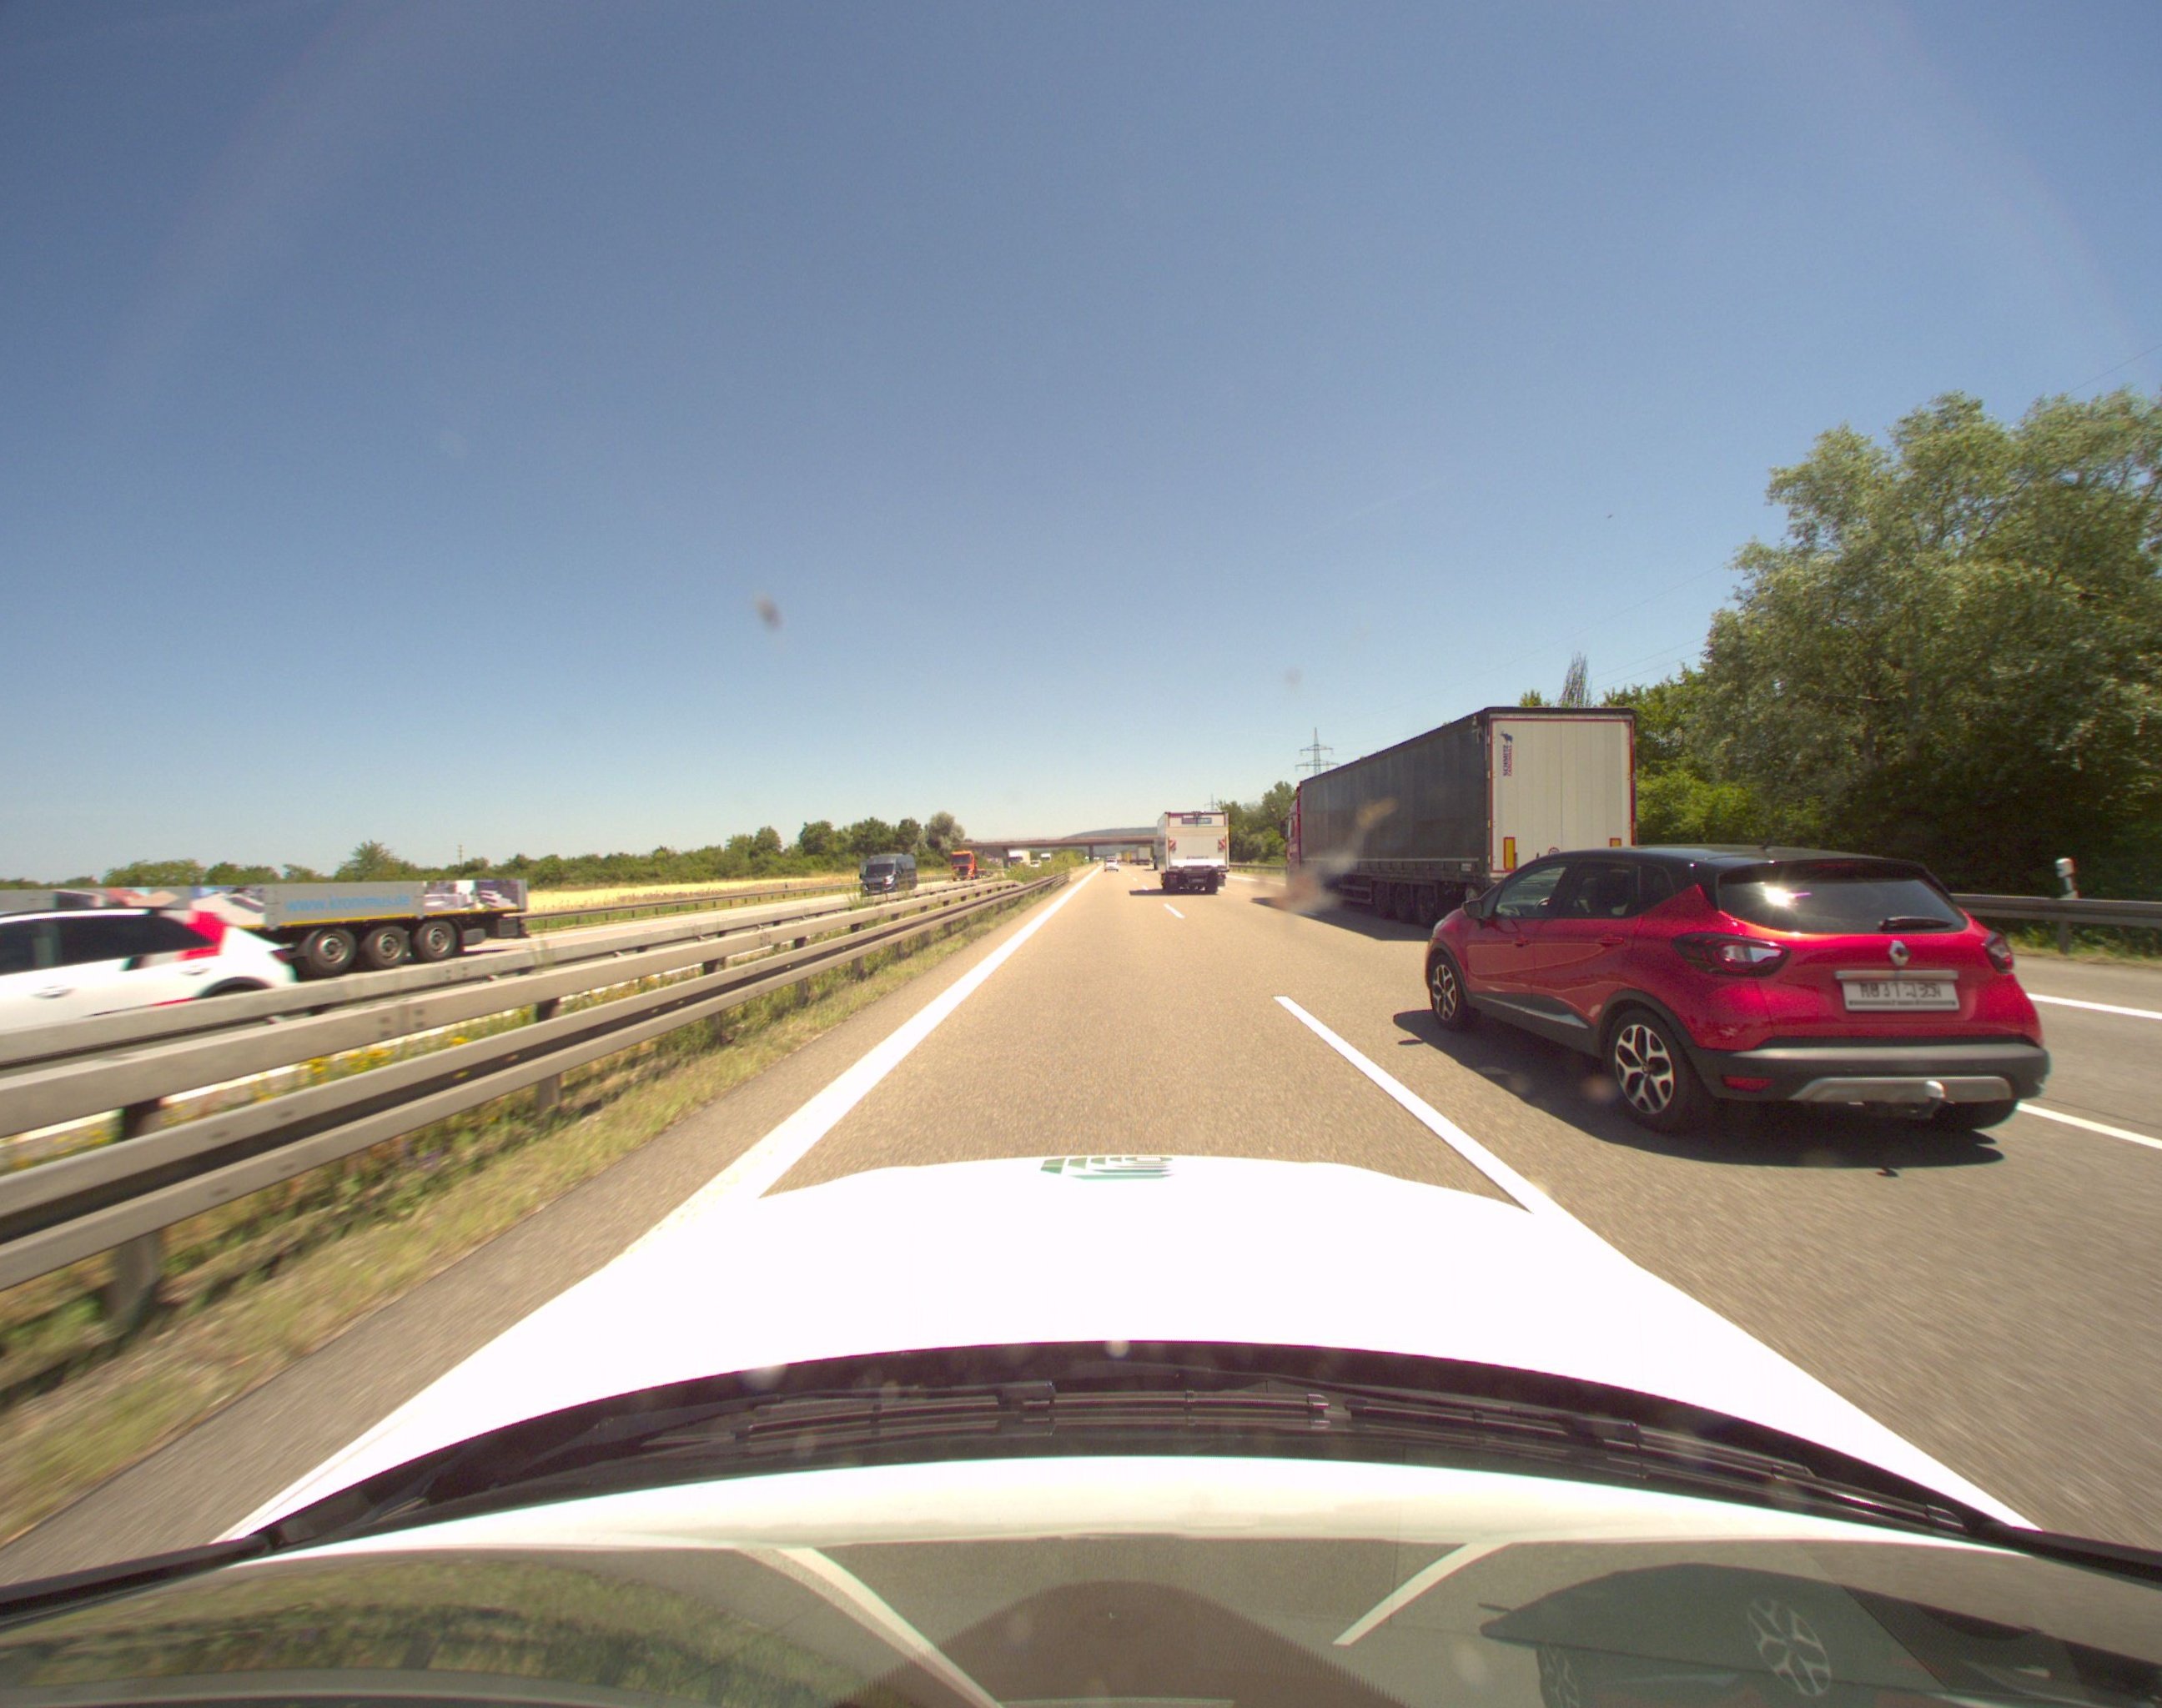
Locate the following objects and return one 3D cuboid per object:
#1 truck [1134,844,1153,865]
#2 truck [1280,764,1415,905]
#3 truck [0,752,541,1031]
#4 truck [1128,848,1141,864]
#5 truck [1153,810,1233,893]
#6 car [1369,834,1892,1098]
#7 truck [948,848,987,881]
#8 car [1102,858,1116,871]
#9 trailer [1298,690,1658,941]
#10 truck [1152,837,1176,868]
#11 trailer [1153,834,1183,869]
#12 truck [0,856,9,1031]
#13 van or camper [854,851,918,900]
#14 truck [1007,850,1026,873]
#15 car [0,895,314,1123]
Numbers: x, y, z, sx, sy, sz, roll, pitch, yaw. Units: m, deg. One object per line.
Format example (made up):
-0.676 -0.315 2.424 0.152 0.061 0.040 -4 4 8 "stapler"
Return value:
14.058 0.124 183.148 3.507 4.416 14.597 -3 0 2 "truck"
8.710 -0.578 27.329 2.784 4.164 5.725 -1 0 2 "truck"
-16.830 0.637 16.100 2.751 4.014 13.526 -4 0 1 "truck"
16.554 0.666 253.952 3.507 4.416 14.597 -3 0 2 "truck"
4.984 -0.060 37.734 2.772 3.373 8.130 -1 -1 2 "truck"
3.990 0.682 6.876 1.796 1.545 4.002 -1 0 2 "car"
-13.674 1.215 99.018 2.642 3.661 10.193 -4 0 2 "truck"
3.479 1.241 99.420 1.601 1.467 4.003 -2 0 3 "car"
8.469 -0.610 20.492 2.778 4.164 13.579 -1 0 2 "trailer"
11.472 -0.199 112.777 2.784 4.164 5.725 -1 0 2 "truck"
11.158 -0.231 105.630 2.784 4.164 13.963 -1 0 2 "trailer"
-17.013 0.603 8.881 2.751 4.014 5.752 -4 0 1 "truck"
-11.594 1.246 48.856 2.163 2.588 5.874 -4 -1 1 "van or camper"
-11.887 1.346 150.874 2.670 4.014 5.757 -3 0 1 "truck"
-8.908 1.257 6.356 1.797 1.568 4.097 -4 0 2 "car"
